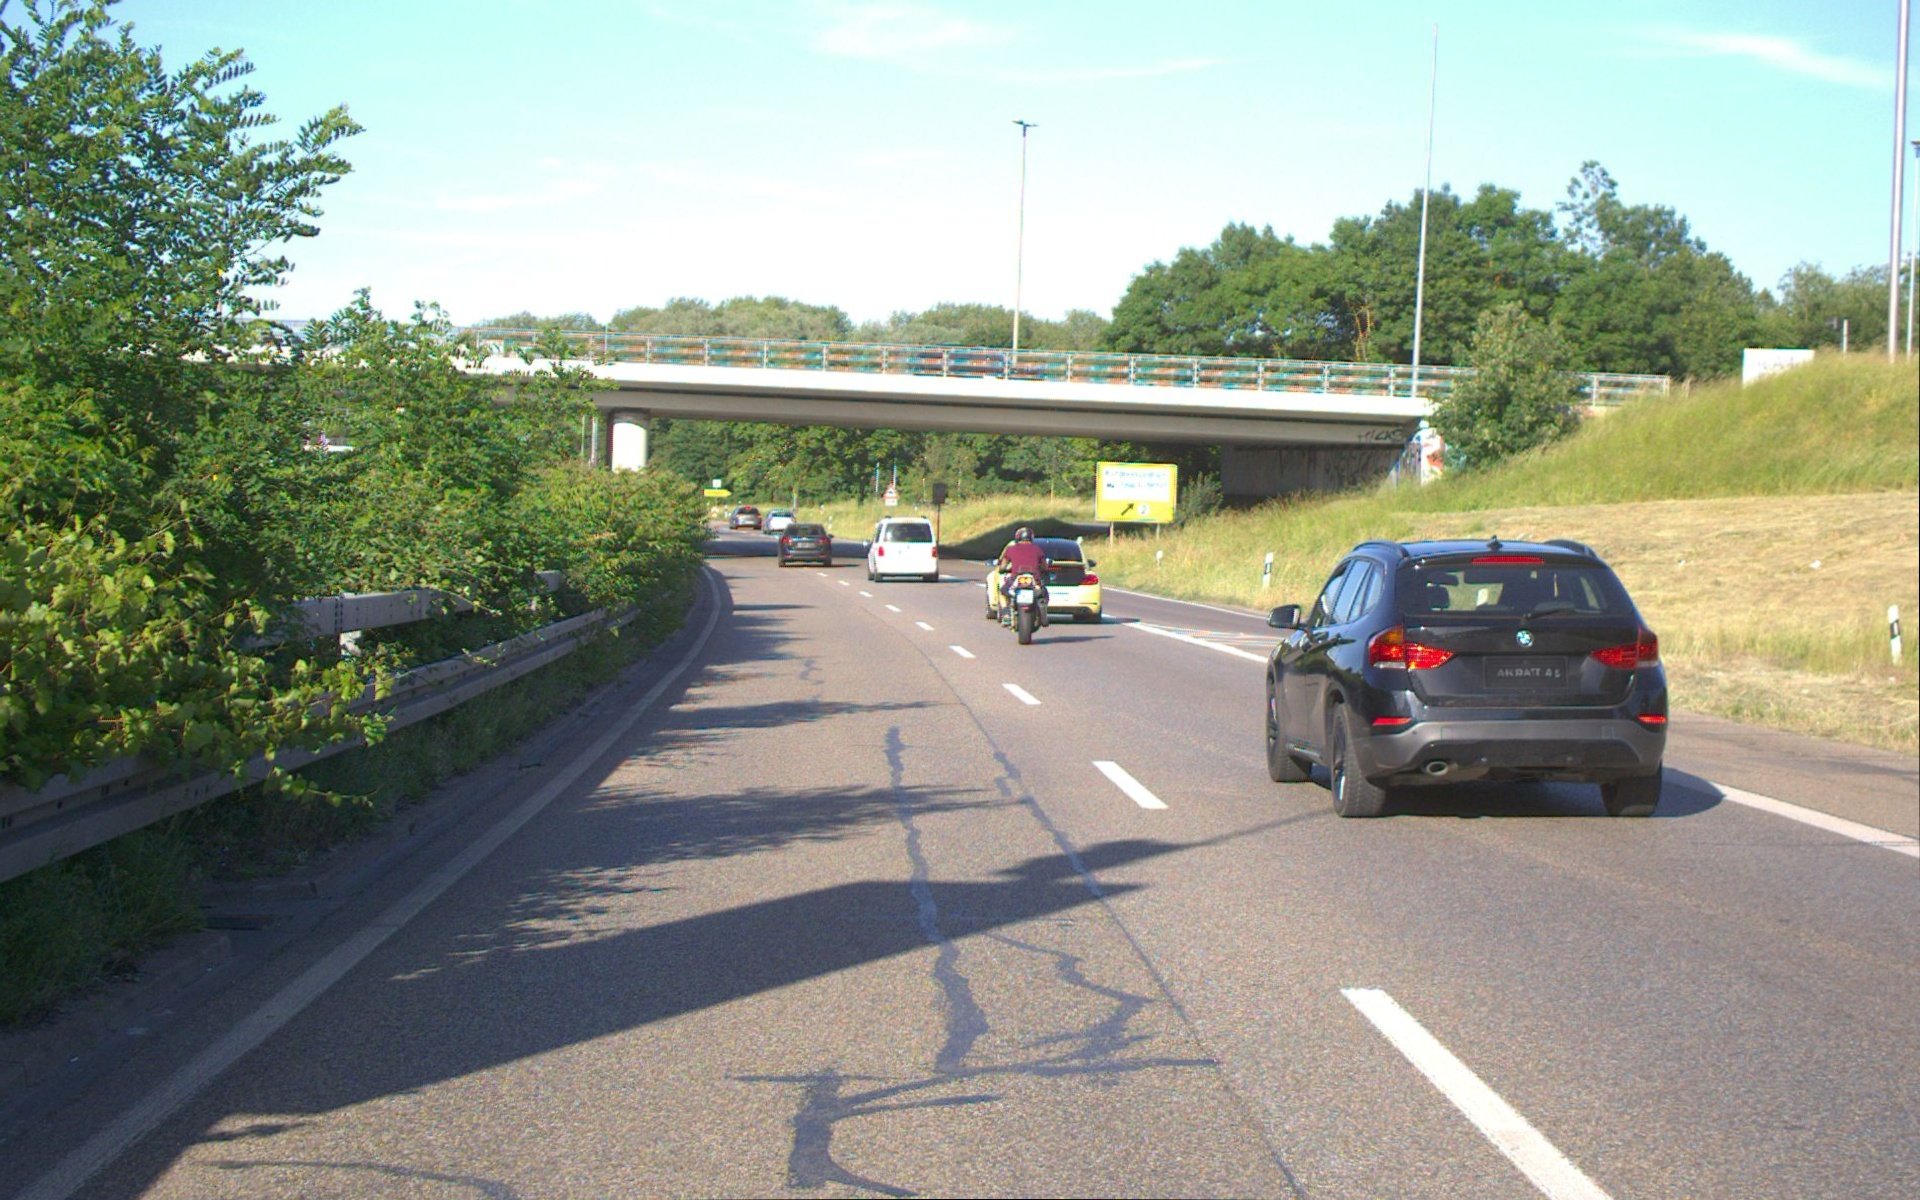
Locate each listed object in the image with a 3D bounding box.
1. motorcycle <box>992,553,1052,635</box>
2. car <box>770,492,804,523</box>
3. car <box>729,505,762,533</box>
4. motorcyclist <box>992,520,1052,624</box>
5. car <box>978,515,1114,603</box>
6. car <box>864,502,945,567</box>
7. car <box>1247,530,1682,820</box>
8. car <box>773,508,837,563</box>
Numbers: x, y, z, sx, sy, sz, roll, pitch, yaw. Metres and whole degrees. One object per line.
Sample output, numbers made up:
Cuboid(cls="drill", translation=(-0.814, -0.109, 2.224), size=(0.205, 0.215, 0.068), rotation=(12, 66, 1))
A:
Cuboid(cls="motorcycle", translation=(0.874, -0.104, 48.909), size=(0.816, 1.066, 2.836), rotation=(1, 2, 1))
Cuboid(cls="car", translation=(-9.988, -5.334, 198.259), size=(1.868, 1.679, 4.001), rotation=(2, 1, -3))
Cuboid(cls="car", translation=(-13.488, -5.069, 216.000), size=(1.868, 1.679, 4.001), rotation=(2, 1, -5))
Cuboid(cls="motorcyclist", translation=(0.878, -0.401, 48.966), size=(0.816, 1.442, 1.094), rotation=(1, 2, 1))
Cuboid(cls="car", translation=(1.478, -0.737, 60.381), size=(1.897, 1.466, 4.001), rotation=(0, 2, -6))
Cuboid(cls="car", translation=(-1.566, -1.843, 95.446), size=(1.897, 1.761, 4.001), rotation=(0, 1, -6))
Cuboid(cls="car", translation=(2.829, 0.393, 20.256), size=(1.698, 1.501, 4.579), rotation=(1, 0, -2))
Cuboid(cls="car", translation=(-5.264, -2.200, 116.391), size=(1.897, 1.761, 4.001), rotation=(0, 2, -6))
